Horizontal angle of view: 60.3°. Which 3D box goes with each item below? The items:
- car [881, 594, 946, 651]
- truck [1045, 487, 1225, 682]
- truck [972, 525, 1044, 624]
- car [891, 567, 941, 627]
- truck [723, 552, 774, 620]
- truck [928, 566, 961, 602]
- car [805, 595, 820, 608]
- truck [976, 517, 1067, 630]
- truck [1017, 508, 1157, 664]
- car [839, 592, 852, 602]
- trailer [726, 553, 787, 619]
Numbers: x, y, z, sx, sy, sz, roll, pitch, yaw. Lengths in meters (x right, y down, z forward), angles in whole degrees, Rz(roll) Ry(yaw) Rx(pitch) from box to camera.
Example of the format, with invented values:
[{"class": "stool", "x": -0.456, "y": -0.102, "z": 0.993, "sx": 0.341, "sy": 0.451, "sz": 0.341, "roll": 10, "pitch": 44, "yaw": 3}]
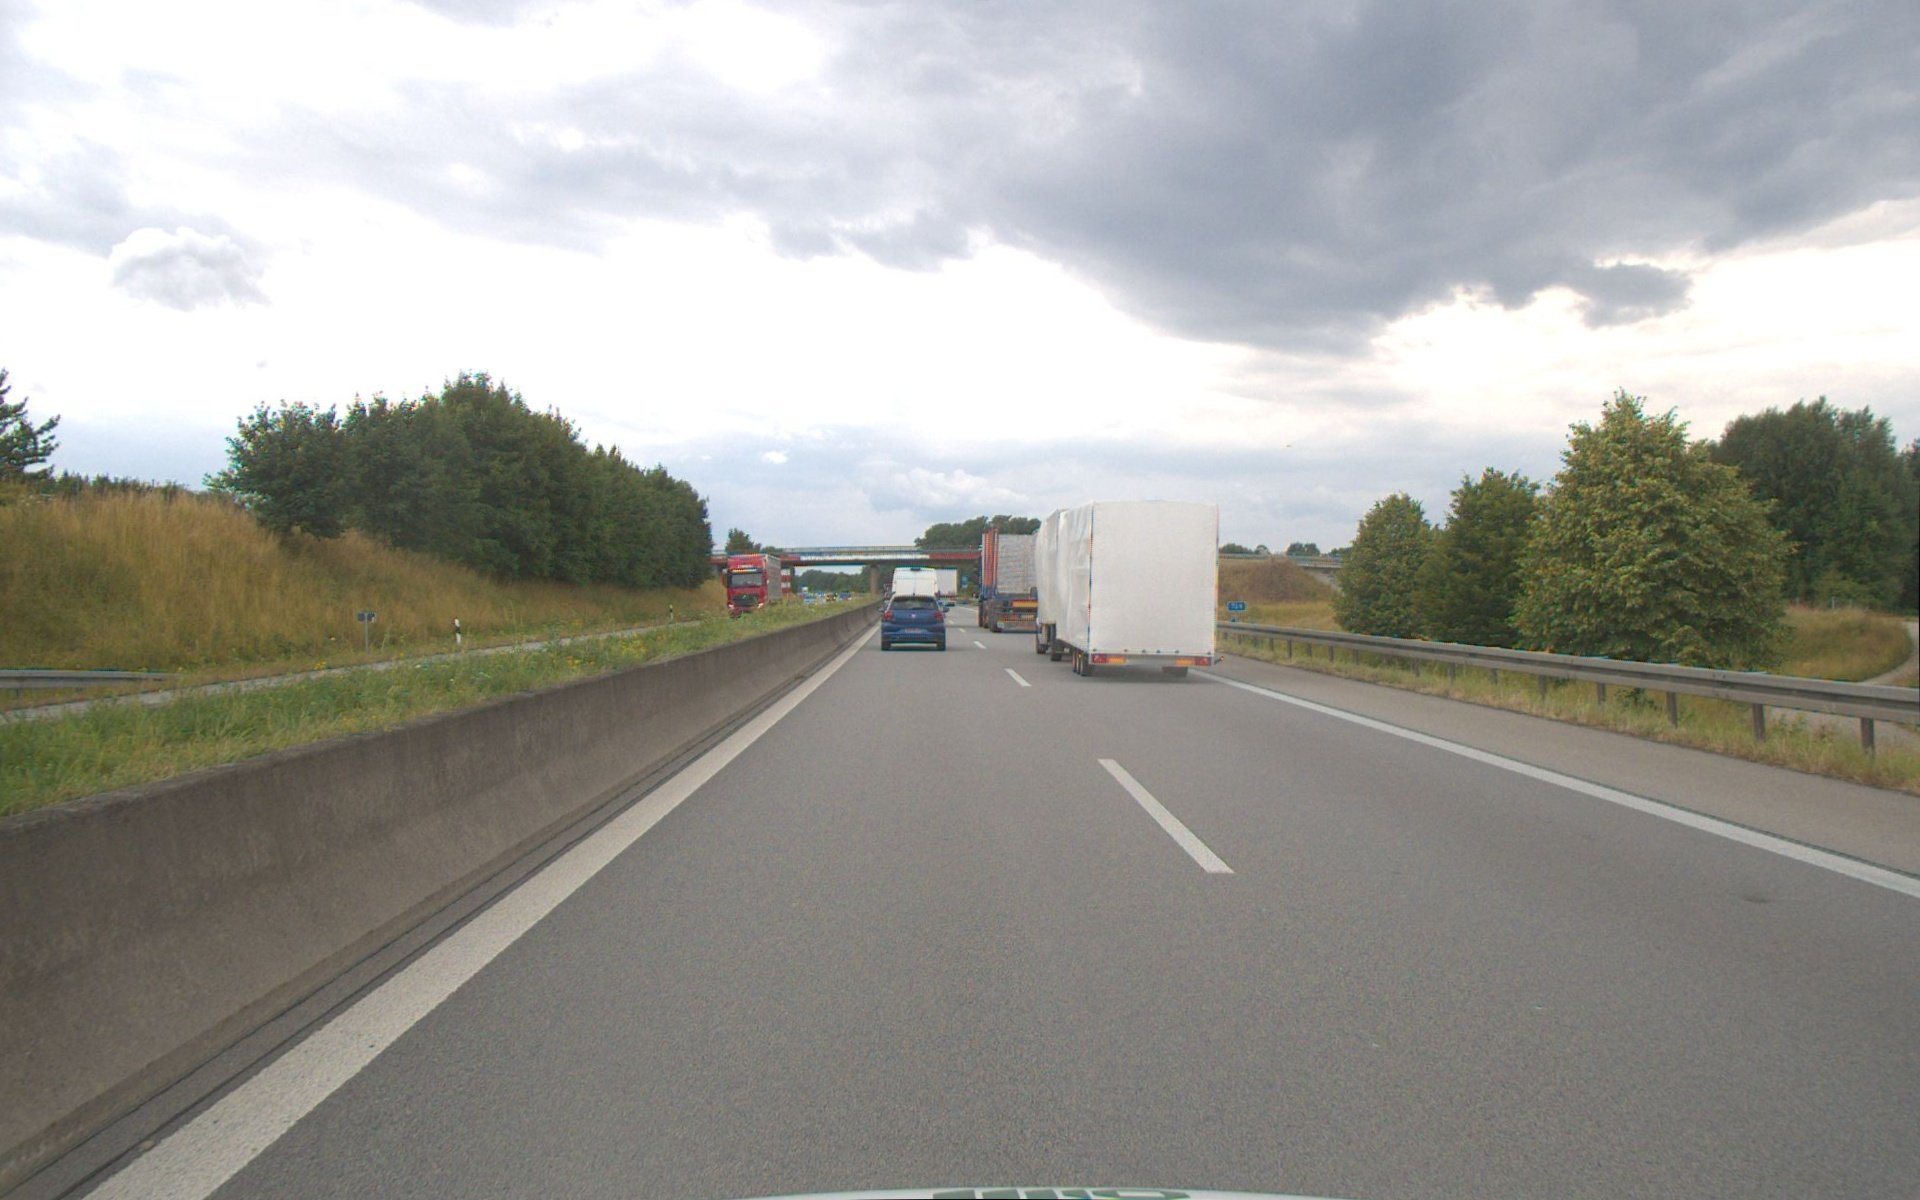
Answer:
[{"class": "car", "x": -1.238, "y": 0.565, "z": 43.769, "sx": 1.630, "sy": 1.431, "sz": 3.647, "roll": 0, "pitch": 1, "yaw": -2}, {"class": "truck", "x": 3.133, "y": -0.270, "z": 31.414, "sx": 2.367, "sy": 3.278, "sz": 7.140, "roll": 0, "pitch": 0, "yaw": -3}, {"class": "truck", "x": 2.009, "y": -1.114, "z": 71.685, "sx": 2.620, "sy": 4.116, "sz": 5.509, "roll": -1, "pitch": 1, "yaw": -3}, {"class": "car", "x": -1.980, "y": -0.127, "z": 72.756, "sx": 2.087, "sy": 2.526, "sz": 5.837, "roll": 0, "pitch": 0, "yaw": -2}, {"class": "truck", "x": -13.591, "y": -0.892, "z": 106.725, "sx": 2.652, "sy": 4.159, "sz": 5.163, "roll": -2, "pitch": 1, "yaw": -2}, {"class": "truck", "x": -1.721, "y": -1.687, "z": 179.732, "sx": 3.049, "sy": 3.754, "sz": 9.316, "roll": -2, "pitch": 0, "yaw": -4}, {"class": "car", "x": -16.852, "y": 0.183, "z": 188.962, "sx": 1.613, "sy": 1.434, "sz": 3.885, "roll": -3, "pitch": 0, "yaw": -4}, {"class": "truck", "x": 2.314, "y": -1.039, "z": 66.266, "sx": 2.620, "sy": 4.116, "sz": 11.100, "roll": -1, "pitch": 1, "yaw": -3}, {"class": "truck", "x": 2.809, "y": -0.307, "z": 38.602, "sx": 2.381, "sy": 3.300, "sz": 7.243, "roll": 0, "pitch": 0, "yaw": -3}, {"class": "car", "x": -16.917, "y": -0.464, "z": 244.667, "sx": 1.811, "sy": 1.402, "sz": 4.598, "roll": -3, "pitch": 0, "yaw": -2}, {"class": "trailer", "x": -13.846, "y": -0.977, "z": 113.645, "sx": 2.652, "sy": 4.159, "sz": 14.592, "roll": -2, "pitch": 1, "yaw": -2}]
